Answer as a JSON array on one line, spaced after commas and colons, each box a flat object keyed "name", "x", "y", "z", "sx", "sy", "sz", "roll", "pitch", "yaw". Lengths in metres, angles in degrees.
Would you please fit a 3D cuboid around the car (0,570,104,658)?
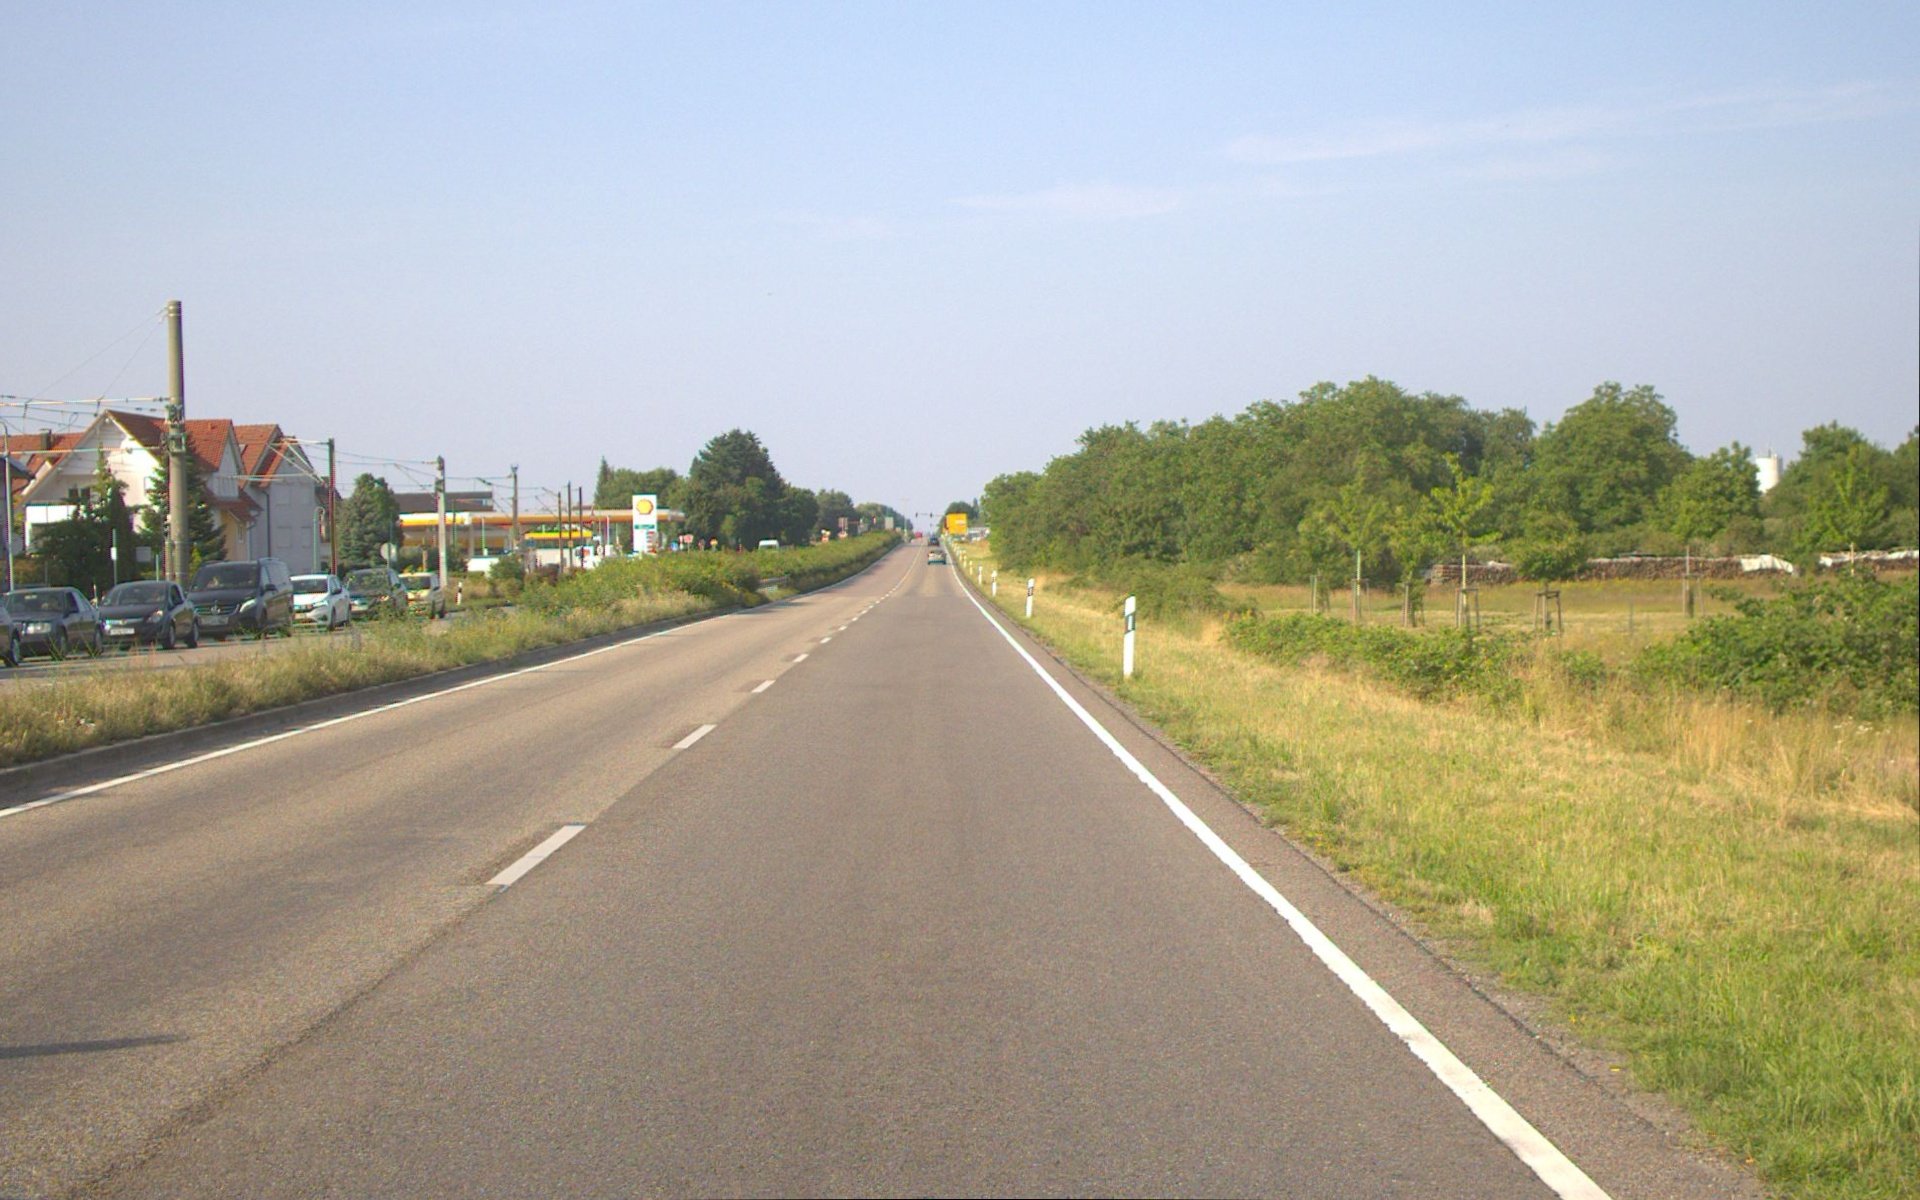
[{"name": "car", "x": -16.282, "y": 0.244, "z": 60.096, "sx": 1.660, "sy": 1.426, "sz": 3.805, "roll": -3, "pitch": 1, "yaw": -1}]

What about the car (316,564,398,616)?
[{"name": "car", "x": -17.871, "y": -0.321, "z": 102.091, "sx": 1.660, "sy": 1.426, "sz": 4.326, "roll": -3, "pitch": 1, "yaw": -1}]

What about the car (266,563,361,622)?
[{"name": "car", "x": -17.141, "y": -0.217, "z": 91.252, "sx": 1.660, "sy": 1.426, "sz": 4.449, "roll": -3, "pitch": 1, "yaw": -1}]

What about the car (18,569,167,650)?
[{"name": "car", "x": -16.727, "y": 0.155, "z": 66.509, "sx": 1.660, "sy": 1.426, "sz": 4.717, "roll": -3, "pitch": 1, "yaw": -1}]

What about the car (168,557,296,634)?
[{"name": "car", "x": -17.372, "y": -0.141, "z": 82.292, "sx": 1.915, "sy": 1.677, "sz": 5.254, "roll": -3, "pitch": 1, "yaw": -1}]

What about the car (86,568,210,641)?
[{"name": "car", "x": -17.248, "y": 0.070, "z": 73.201, "sx": 1.660, "sy": 1.426, "sz": 4.057, "roll": -3, "pitch": 1, "yaw": -1}]
